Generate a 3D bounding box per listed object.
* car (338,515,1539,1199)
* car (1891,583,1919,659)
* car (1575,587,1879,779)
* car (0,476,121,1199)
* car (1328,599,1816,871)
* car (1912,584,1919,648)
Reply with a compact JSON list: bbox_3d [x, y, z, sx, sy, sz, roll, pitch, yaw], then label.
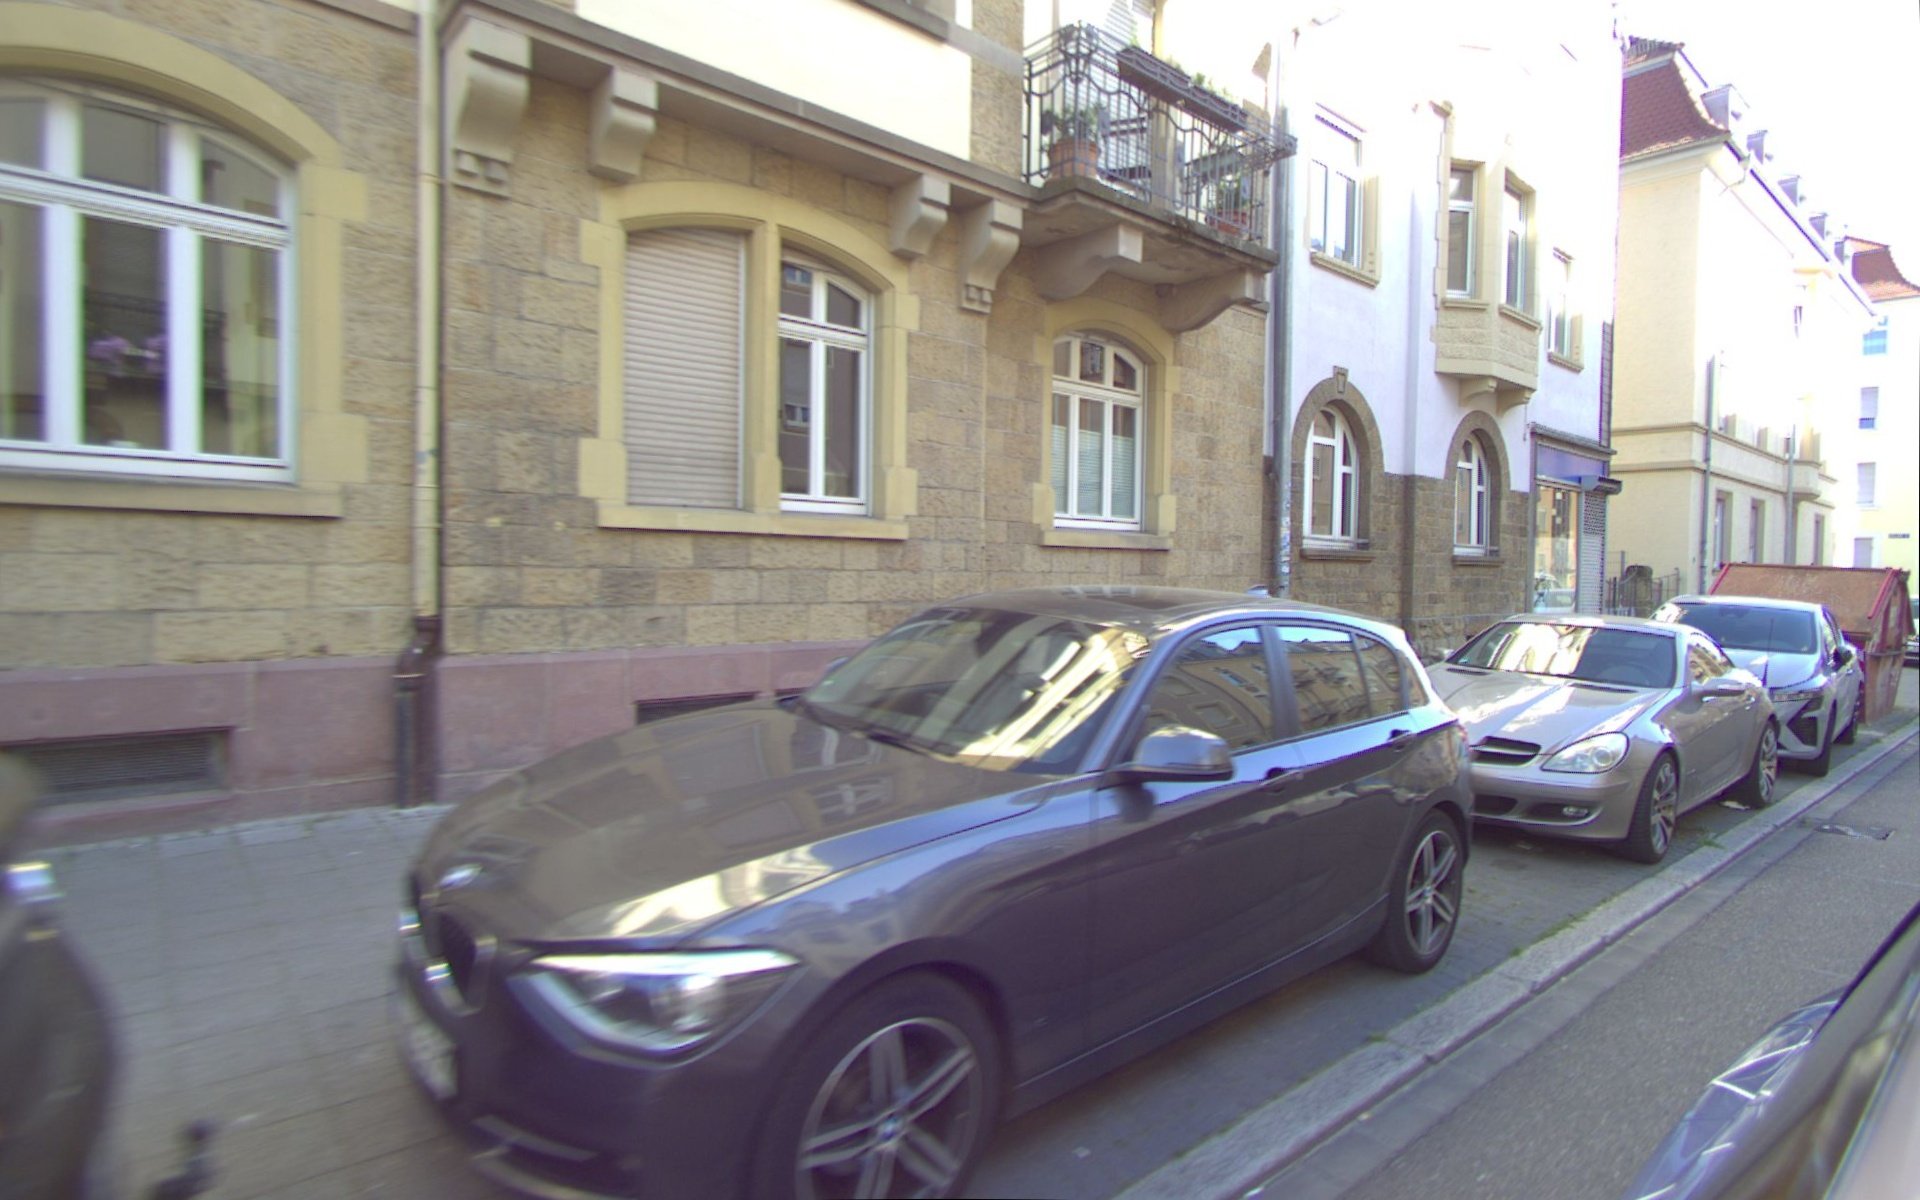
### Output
[{"bbox_3d":[0.364,0.546,3.601,4.185,1.460,1.654,0,3,-41],"label":"car"},{"bbox_3d":[20.452,0.414,20.799,3.648,1.482,1.588,-1,2,-42],"label":"car"},{"bbox_3d":[7.536,0.621,9.818,3.744,1.447,1.788,-1,2,-44],"label":"car"},{"bbox_3d":[-2.984,0.609,0.242,4.264,1.480,1.869,0,2,-41],"label":"car"},{"bbox_3d":[4.364,0.681,6.990,3.871,1.270,1.697,0,3,-40],"label":"car"},{"bbox_3d":[24.360,0.392,24.380,4.023,1.482,1.656,0,2,-41],"label":"car"}]
